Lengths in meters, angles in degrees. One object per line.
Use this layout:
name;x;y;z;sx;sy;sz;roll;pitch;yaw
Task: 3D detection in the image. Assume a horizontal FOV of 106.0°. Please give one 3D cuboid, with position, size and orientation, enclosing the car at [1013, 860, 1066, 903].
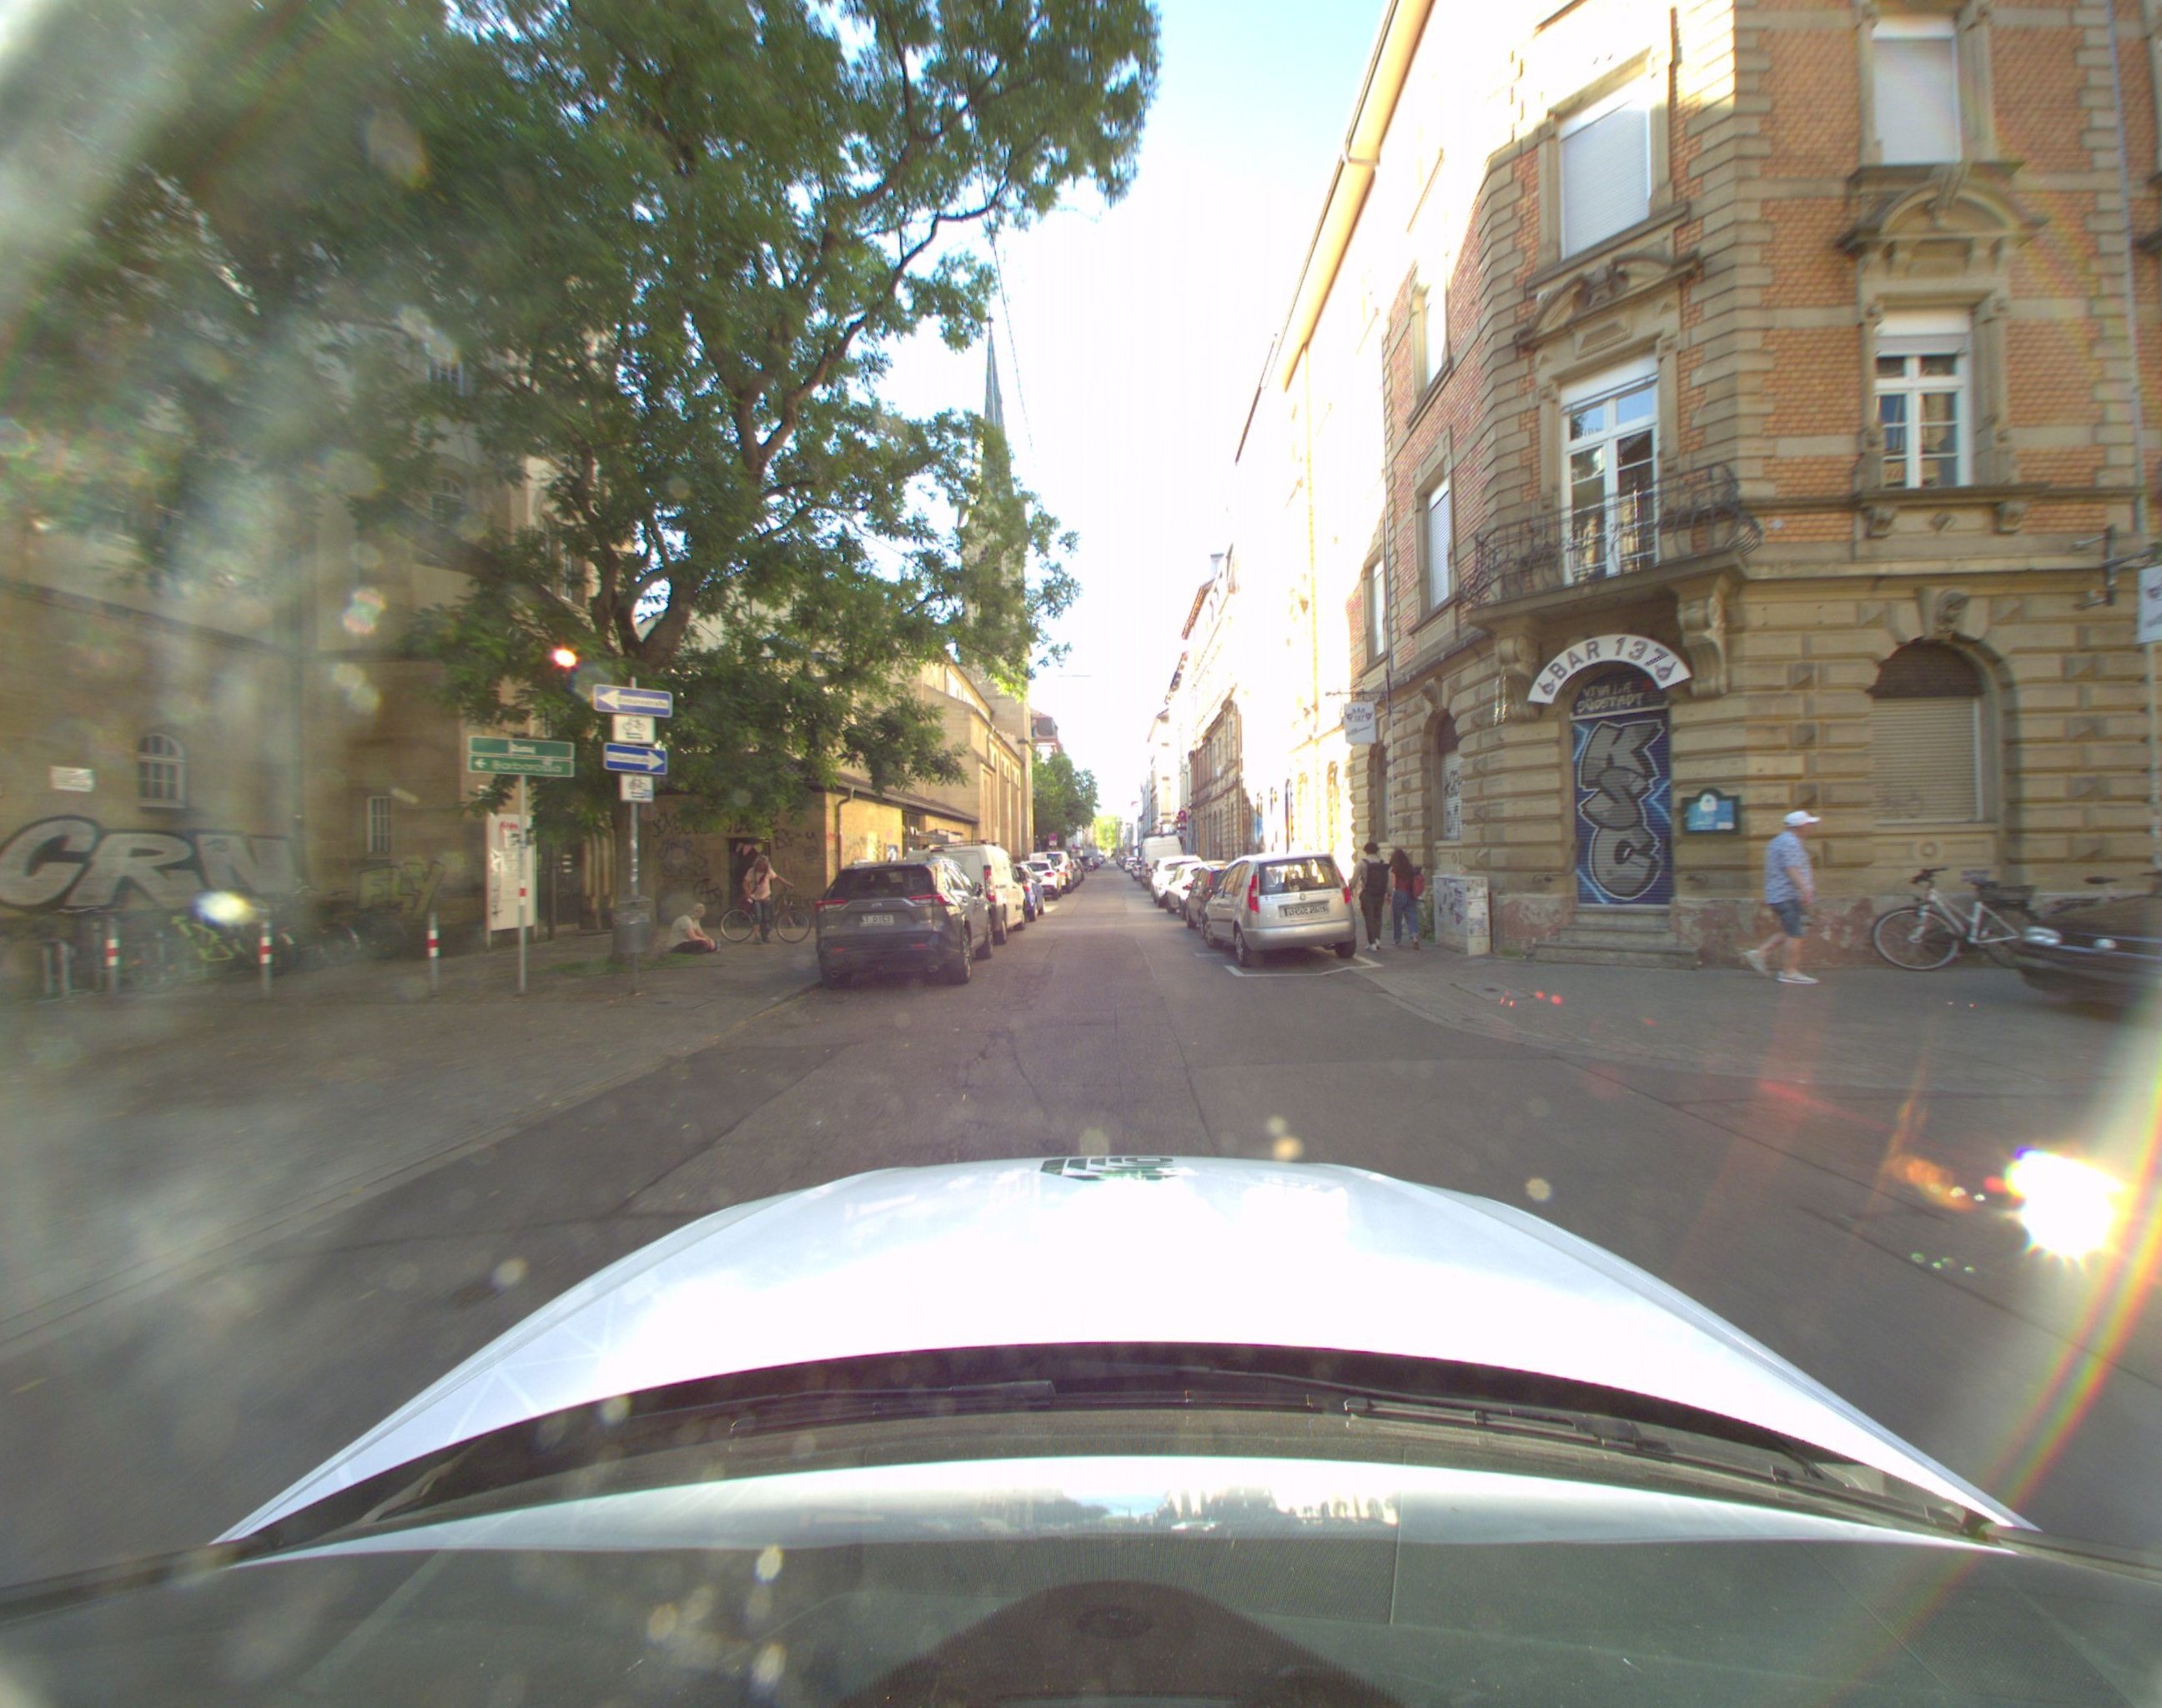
car;-1.621;1.051;32.949;1.735;1.586;3.871;-1;0;2

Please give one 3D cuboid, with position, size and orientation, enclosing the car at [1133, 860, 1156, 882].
car;4.547;1.185;58.541;1.597;1.505;4.004;0;0;3

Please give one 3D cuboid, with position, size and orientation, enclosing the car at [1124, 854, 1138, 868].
car;6.620;0.951;107.465;1.762;1.741;4.002;-1;0;2

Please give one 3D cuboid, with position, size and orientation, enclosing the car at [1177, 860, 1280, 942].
car;3.085;0.934;17.690;1.530;1.513;3.681;-2;0;0

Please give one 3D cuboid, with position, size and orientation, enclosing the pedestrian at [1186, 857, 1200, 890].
pedestrian;6.020;1.049;43.821;0.638;1.772;0.678;0;-1;-4

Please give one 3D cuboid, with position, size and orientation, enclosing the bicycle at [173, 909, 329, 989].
bicycle;-12.090;1.373;11.880;1.769;1.054;0.478;-2;0;1

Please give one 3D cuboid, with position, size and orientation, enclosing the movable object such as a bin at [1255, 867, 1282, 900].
movable object such as a bin;6.216;0.977;27.030;0.551;1.052;0.597;-4;0;-31

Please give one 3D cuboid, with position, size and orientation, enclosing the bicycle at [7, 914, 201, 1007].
bicycle;-12.244;1.325;10.229;1.769;1.054;0.534;-2;0;1

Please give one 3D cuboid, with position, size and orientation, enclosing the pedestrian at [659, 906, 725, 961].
pedestrian;-6.390;1.294;13.427;0.919;0.778;0.697;-2;0;-22

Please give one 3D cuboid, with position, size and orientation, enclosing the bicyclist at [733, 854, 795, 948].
bicyclist;-5.987;0.869;15.401;0.800;1.723;0.694;1;0;10

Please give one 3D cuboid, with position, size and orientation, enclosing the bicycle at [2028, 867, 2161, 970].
bicycle;11.706;0.692;9.019;1.769;1.054;0.534;-2;0;1

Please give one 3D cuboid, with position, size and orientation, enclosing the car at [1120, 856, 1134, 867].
car;6.775;1.075;120.749;1.986;1.632;4.002;1;0;2

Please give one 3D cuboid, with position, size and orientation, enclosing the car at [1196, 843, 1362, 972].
car;3.013;0.739;13.203;1.698;1.714;3.937;-2;0;0

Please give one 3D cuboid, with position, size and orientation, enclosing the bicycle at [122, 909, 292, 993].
bicycle;-12.112;1.332;11.310;1.769;1.054;0.534;-2;0;1

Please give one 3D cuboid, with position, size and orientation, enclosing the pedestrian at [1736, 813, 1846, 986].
pedestrian;7.409;0.460;8.530;0.656;1.732;0.579;-3;0;21

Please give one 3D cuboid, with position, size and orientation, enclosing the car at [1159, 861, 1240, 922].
car;3.243;0.994;22.921;1.568;1.525;3.905;1;0;-2

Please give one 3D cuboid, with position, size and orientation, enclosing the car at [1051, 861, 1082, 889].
car;-0.836;1.234;49.700;1.667;1.558;4.001;-2;0;1

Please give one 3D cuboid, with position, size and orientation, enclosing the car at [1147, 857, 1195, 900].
car;3.698;0.961;33.963;1.681;1.642;3.926;-1;0;2

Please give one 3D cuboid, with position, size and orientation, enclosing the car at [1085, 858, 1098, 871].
car;1.520;1.496;120.990;1.869;1.796;4.001;-1;0;1

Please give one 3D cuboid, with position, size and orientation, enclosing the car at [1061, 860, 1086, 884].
car;-0.540;1.286;59.551;1.594;1.614;3.809;-4;0;1

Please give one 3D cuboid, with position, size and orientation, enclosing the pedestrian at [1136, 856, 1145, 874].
pedestrian;5.981;1.089;81.669;0.681;1.843;0.692;-1;0;-10

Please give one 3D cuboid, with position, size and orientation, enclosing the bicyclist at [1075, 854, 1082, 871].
bicyclist;-0.241;0.815;81.860;0.603;1.688;0.885;-1;0;2

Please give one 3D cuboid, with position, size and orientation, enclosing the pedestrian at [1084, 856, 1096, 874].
pedestrian;0.951;1.164;84.036;0.775;1.843;1.018;-1;0;33

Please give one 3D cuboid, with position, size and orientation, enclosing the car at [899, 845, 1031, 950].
car;-2.258;0.782;17.065;1.838;1.862;4.469;-2;0;3

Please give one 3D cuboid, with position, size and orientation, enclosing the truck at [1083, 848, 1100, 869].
truck;1.848;0.745;137.345;2.522;3.282;6.998;-1;0;2

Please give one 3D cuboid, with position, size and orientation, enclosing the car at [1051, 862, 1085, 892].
car;-0.696;1.254;45.301;1.609;1.451;3.952;-3;0;2

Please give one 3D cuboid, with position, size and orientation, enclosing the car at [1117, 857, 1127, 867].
car;8.276;1.579;163.265;1.986;2.013;4.002;-1;0;2

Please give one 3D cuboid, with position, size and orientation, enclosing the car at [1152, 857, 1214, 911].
car;3.403;0.960;27.780;1.800;1.690;4.217;0;-1;3

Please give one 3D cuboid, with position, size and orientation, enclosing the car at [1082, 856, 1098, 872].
car;1.106;1.183;98.899;1.868;1.796;4.002;-1;0;2

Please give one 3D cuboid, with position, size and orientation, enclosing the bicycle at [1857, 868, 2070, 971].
bicycle;9.884;0.720;9.151;1.769;1.054;0.534;-2;0;1

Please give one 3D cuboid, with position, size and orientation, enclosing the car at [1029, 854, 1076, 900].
car;-1.305;1.051;38.744;1.857;1.957;4.611;-3;0;1

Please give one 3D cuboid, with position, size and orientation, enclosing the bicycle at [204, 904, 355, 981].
bicycle;-12.031;1.326;12.248;1.769;1.054;0.478;-2;0;1

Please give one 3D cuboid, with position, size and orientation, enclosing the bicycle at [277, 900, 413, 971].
bicycle;-12.019;1.320;13.322;1.769;1.054;0.478;-2;0;1

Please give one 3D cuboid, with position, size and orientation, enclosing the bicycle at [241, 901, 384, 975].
bicycle;-12.027;1.308;12.771;1.769;1.054;0.478;-2;0;1

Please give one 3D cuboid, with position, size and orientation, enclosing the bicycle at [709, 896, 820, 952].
bicycle;-5.971;1.305;15.390;1.750;0.923;0.829;1;0;10

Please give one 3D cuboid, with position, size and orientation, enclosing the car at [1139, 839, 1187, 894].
car;4.190;0.598;42.454;2.060;2.611;5.891;-1;0;2

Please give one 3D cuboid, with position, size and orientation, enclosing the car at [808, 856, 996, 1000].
car;-2.339;0.882;11.788;1.735;1.646;4.288;-2;0;0

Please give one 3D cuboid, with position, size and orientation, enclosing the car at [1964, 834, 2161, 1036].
car;9.904;0.552;6.393;3.964;1.452;1.735;-1;0;2

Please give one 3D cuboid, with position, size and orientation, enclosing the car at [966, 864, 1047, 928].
car;-1.944;1.083;22.368;1.681;1.476;3.861;-3;0;2

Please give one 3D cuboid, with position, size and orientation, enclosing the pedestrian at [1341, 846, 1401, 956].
pedestrian;4.435;0.697;12.484;0.589;1.604;0.727;-3;0;0

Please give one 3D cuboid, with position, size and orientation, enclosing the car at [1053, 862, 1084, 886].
car;-0.801;1.309;54.860;1.563;1.398;3.813;-5;0;5

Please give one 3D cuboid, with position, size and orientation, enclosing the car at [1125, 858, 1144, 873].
car;5.715;1.249;86.964;1.890;1.488;3.872;-1;0;2

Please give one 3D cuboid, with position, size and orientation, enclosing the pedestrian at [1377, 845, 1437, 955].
pedestrian;5.028;0.686;12.596;0.572;1.621;0.734;-3;0;0
